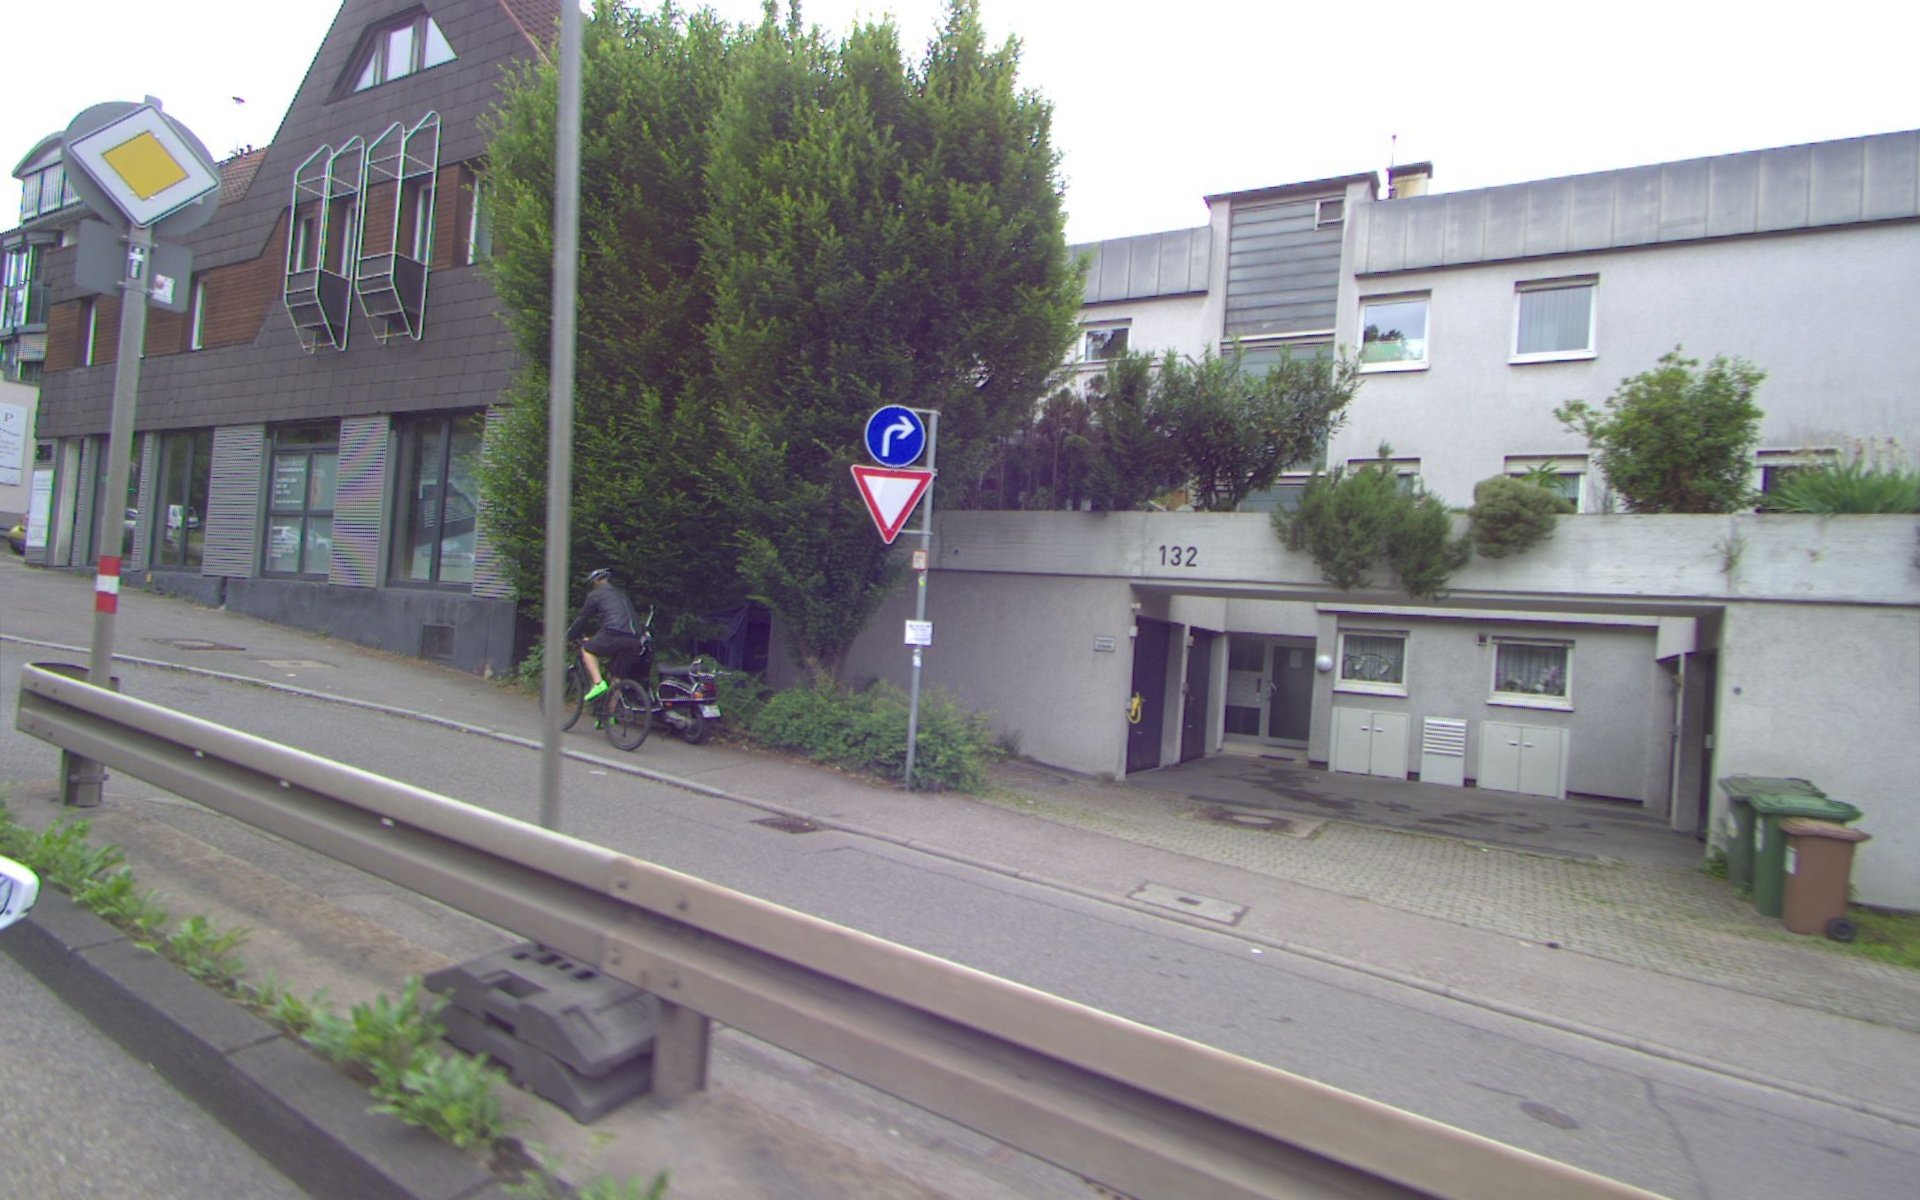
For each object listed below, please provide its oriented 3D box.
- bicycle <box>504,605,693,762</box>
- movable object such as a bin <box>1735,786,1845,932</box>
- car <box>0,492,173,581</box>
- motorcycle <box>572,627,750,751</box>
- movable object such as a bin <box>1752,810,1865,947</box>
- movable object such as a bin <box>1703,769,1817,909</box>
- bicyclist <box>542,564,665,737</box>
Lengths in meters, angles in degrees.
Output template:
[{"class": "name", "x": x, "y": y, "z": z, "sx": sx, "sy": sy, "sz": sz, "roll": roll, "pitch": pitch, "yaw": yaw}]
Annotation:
[{"class": "bicycle", "x": -3.807, "y": 0.837, "z": 10.524, "sx": 2.004, "sy": 1.278, "sz": 0.572, "roll": 8, "pitch": 1, "yaw": 30}, {"class": "movable object such as a bin", "x": 7.387, "y": 2.289, "z": 8.985, "sx": 0.551, "sy": 1.070, "sz": 0.541, "roll": 7, "pitch": 6, "yaw": 30}, {"class": "car", "x": -22.792, "y": -1.603, "z": 26.211, "sx": 1.636, "sy": 1.477, "sz": 3.008, "roll": 9, "pitch": -6, "yaw": 24}, {"class": "motorcycle", "x": -3.345, "y": 0.961, "z": 11.198, "sx": 1.934, "sy": 1.064, "sz": 0.696, "roll": 7, "pitch": 1, "yaw": 32}, {"class": "movable object such as a bin", "x": 7.163, "y": 2.336, "z": 8.518, "sx": 0.551, "sy": 0.953, "sz": 0.452, "roll": 7, "pitch": 3, "yaw": 30}, {"class": "movable object such as a bin", "x": 7.568, "y": 2.245, "z": 9.546, "sx": 0.644, "sy": 1.096, "sz": 0.541, "roll": 7, "pitch": 6, "yaw": 30}, {"class": "bicyclist", "x": -3.717, "y": 0.517, "z": 10.496, "sx": 0.931, "sy": 1.652, "sz": 0.539, "roll": 7, "pitch": 0, "yaw": 30}]
